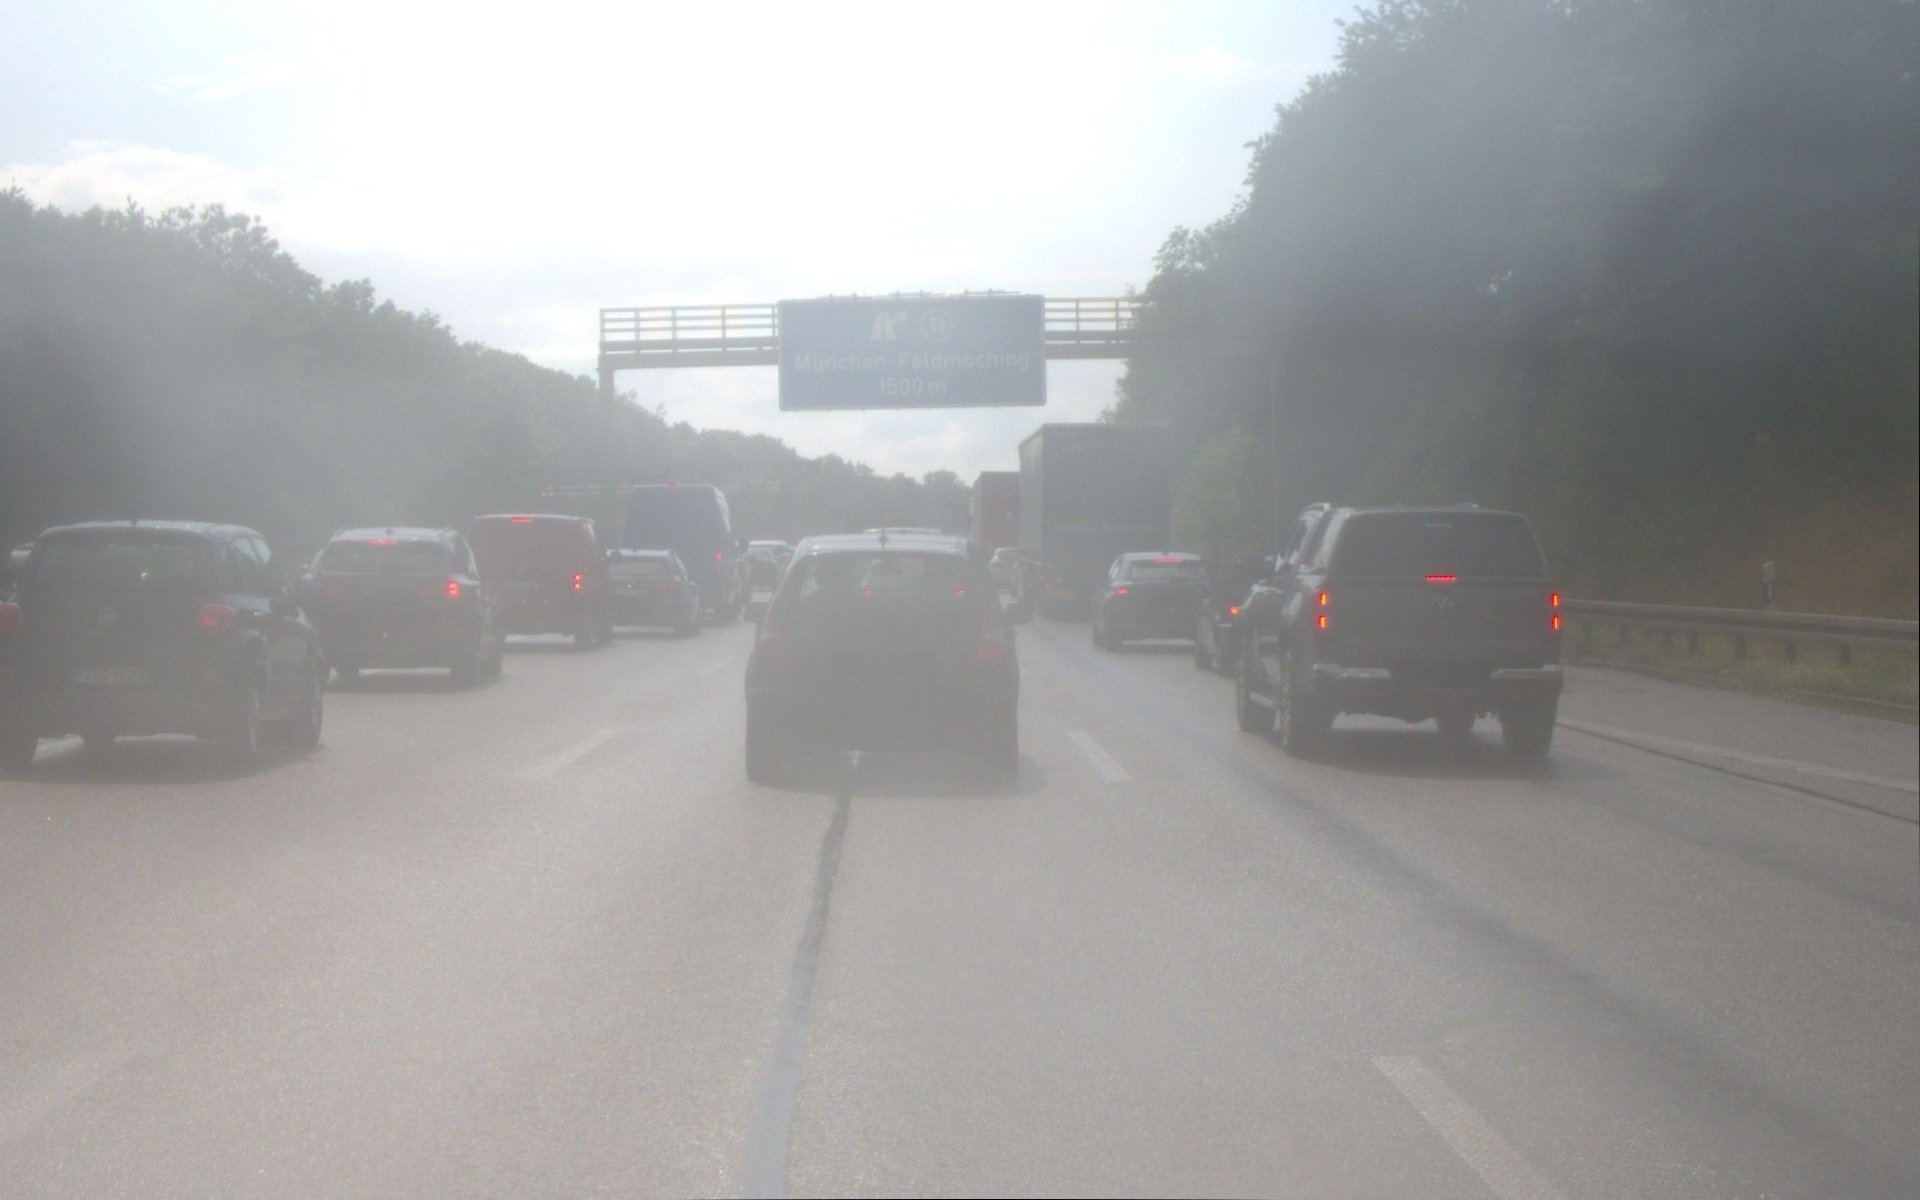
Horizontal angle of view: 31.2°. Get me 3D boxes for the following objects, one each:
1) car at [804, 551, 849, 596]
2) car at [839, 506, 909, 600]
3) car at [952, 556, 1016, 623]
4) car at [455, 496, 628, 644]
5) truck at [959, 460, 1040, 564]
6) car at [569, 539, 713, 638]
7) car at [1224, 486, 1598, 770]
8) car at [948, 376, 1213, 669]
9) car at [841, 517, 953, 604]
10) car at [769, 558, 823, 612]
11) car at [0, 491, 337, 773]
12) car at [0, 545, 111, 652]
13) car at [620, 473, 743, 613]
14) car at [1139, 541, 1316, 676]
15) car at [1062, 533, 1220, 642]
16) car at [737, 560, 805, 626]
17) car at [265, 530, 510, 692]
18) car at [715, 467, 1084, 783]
[{"bbox_3d":[-6.381,-1.289,164.472,1.993,2.108,4.889,1,0,0],"label":"car"},{"bbox_3d":[-2.580,-1.411,104.056,1.993,2.737,5.260,1,0,0],"label":"car"},{"bbox_3d":[0.754,-0.347,111.837,1.993,2.108,4.889,1,0,0],"label":"car"},{"bbox_3d":[-6.093,-0.443,50.579,1.978,2.047,4.756,1,0,0],"label":"car"},{"bbox_3d":[1.386,-3.136,124.403,2.775,3.619,5.917,1,0,0],"label":"truck"},{"bbox_3d":[-5.262,-0.213,57.251,1.993,1.559,4.756,1,1,0],"label":"car"},{"bbox_3d":[3.290,0.166,26.244,1.941,1.912,5.652,1,1,-2],"label":"car"},{"bbox_3d":[2.387,-1.623,77.243,4.403,5.810,16.820,1,1,-3],"label":"car"},{"bbox_3d":[-1.175,-0.707,62.228,1.864,1.511,3.976,1,1,-3],"label":"car"},{"bbox_3d":[-6.628,-0.619,139.441,1.993,2.108,4.889,1,0,0],"label":"car"},{"bbox_3d":[-5.504,0.189,24.184,1.692,1.798,3.976,1,0,-3],"label":"car"},{"bbox_3d":[-18.886,-0.062,69.157,2.174,2.039,6.501,1,1,-2],"label":"car"},{"bbox_3d":[-5.391,-1.103,67.202,1.993,2.606,5.260,1,0,0],"label":"car"},{"bbox_3d":[3.131,0.079,40.876,1.590,1.511,3.976,1,1,-3],"label":"car"},{"bbox_3d":[2.591,-0.191,50.142,1.864,1.511,3.976,1,1,-3],"label":"car"},{"bbox_3d":[-6.202,-0.246,113.262,1.993,2.108,4.889,1,0,0],"label":"car"},{"bbox_3d":[-6.152,0.093,37.442,1.909,1.631,4.617,-1,1,0],"label":"car"},{"bbox_3d":[-0.479,0.135,23.797,2.274,1.948,4.822,1,0,-2],"label":"car"}]
